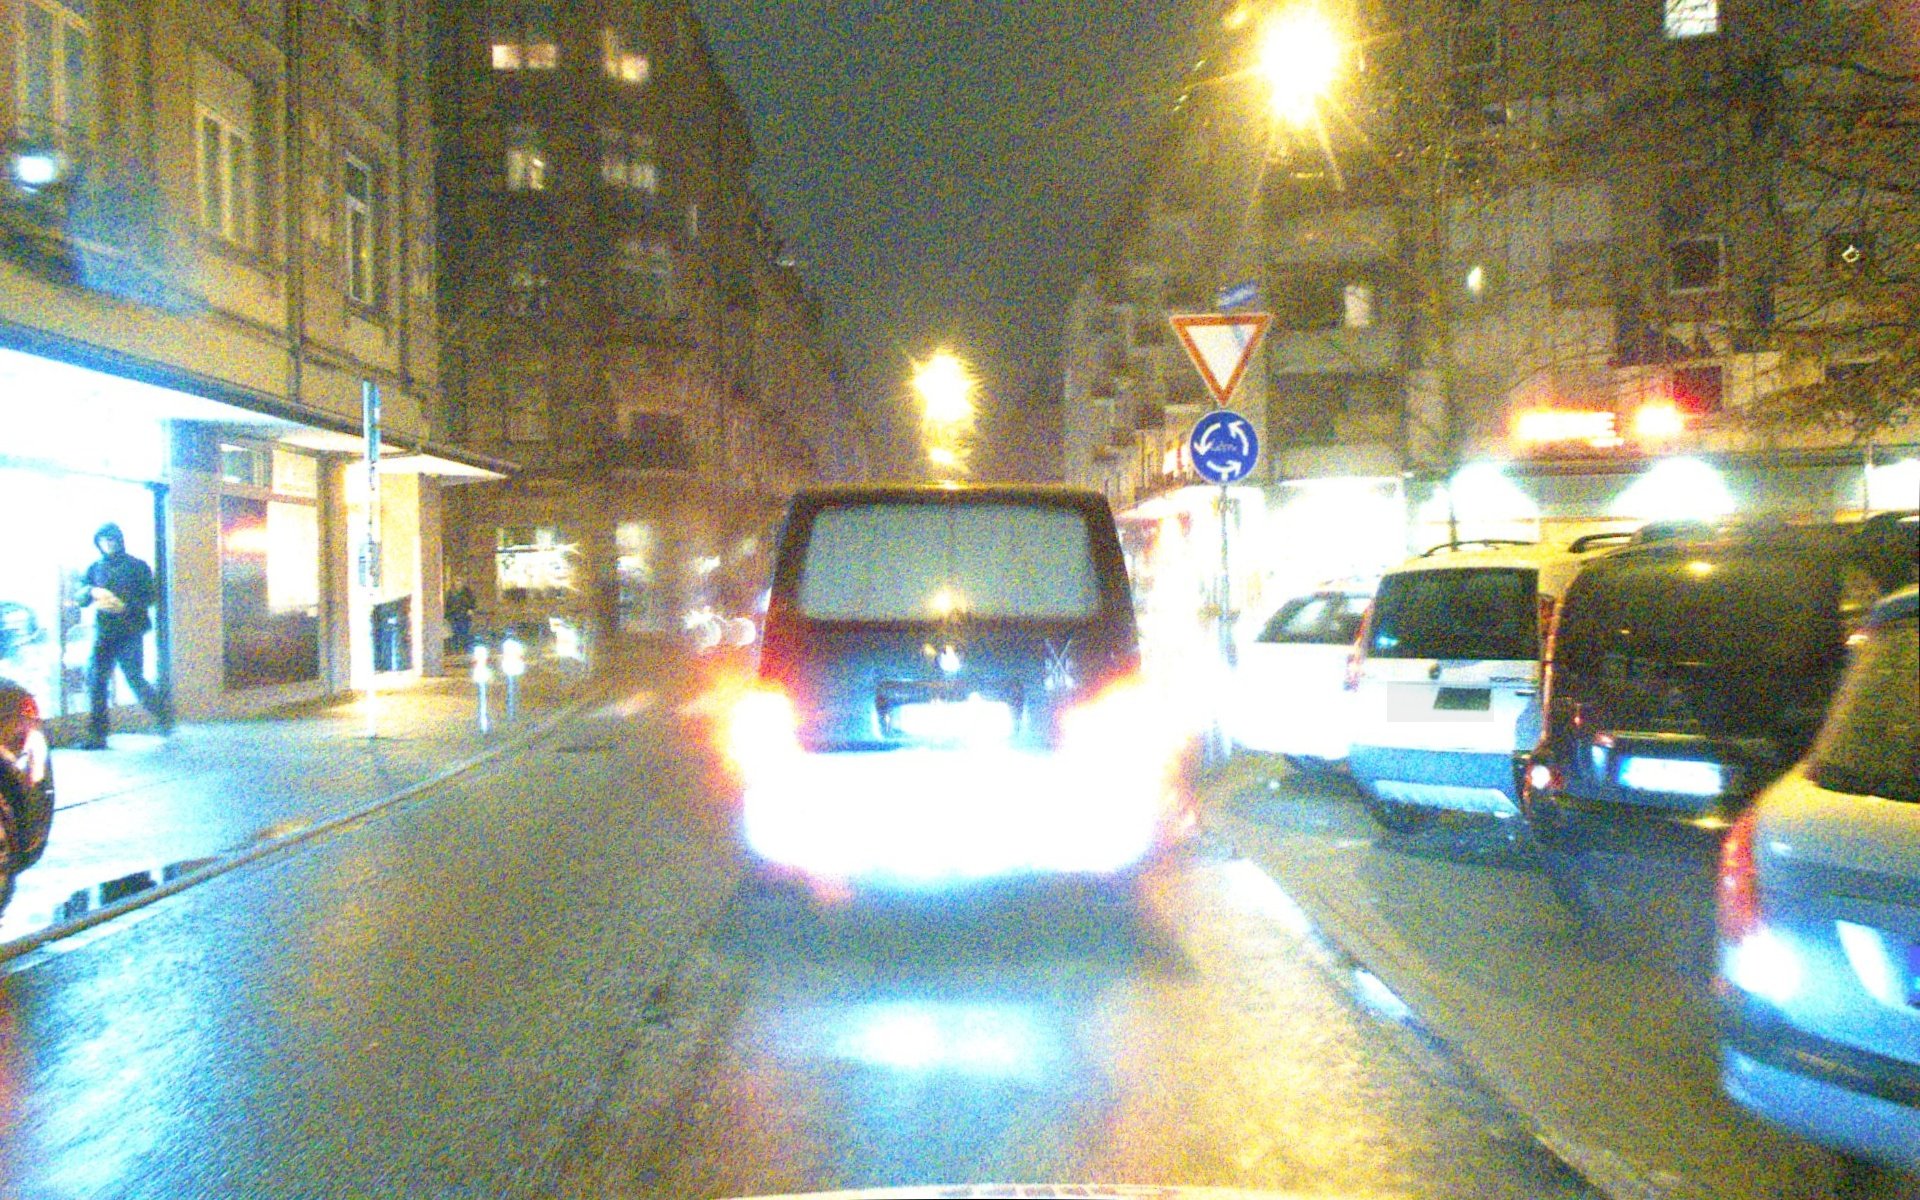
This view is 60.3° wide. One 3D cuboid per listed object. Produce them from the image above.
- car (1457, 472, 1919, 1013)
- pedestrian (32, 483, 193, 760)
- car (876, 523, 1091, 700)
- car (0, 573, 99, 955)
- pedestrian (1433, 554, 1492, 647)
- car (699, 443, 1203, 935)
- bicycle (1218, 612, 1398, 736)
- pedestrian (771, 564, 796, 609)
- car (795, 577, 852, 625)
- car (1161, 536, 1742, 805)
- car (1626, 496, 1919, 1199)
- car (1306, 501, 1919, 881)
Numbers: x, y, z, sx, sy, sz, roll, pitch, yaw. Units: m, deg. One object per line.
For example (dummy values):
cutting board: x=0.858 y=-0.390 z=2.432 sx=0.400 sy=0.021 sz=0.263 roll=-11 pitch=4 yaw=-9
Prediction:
car: x=4.065 y=0.379 z=7.127 sx=3.752 sy=1.742 sz=1.726 roll=-3 pitch=1 yaw=-36
pedestrian: x=-7.275 y=0.168 z=14.255 sx=0.783 sy=2.280 sz=1.116 roll=-1 pitch=0 yaw=-2
car: x=0.446 y=0.089 z=20.797 sx=2.077 sy=1.956 sz=4.830 roll=0 pitch=1 yaw=8
car: x=-4.676 y=0.671 z=4.738 sx=1.809 sy=1.504 sz=5.030 roll=-1 pitch=1 yaw=-1
pedestrian: x=10.285 y=-0.002 z=33.837 sx=0.861 sy=1.865 sz=0.980 roll=-1 pitch=0 yaw=35
car: x=-0.054 y=0.344 z=9.172 sx=2.079 sy=2.026 sz=4.600 roll=-1 pitch=1 yaw=-1
bicycle: x=3.100 y=0.643 z=14.847 sx=1.617 sy=1.044 sz=0.334 roll=-1 pitch=2 yaw=43
pedestrian: x=-7.053 y=-0.533 z=66.210 sx=0.787 sy=1.797 sz=1.016 roll=1 pitch=0 yaw=5
car: x=-4.553 y=-0.005 z=55.680 sx=1.554 sy=1.489 sz=4.024 roll=2 pitch=1 yaw=0
car: x=3.752 y=0.424 z=12.467 sx=4.204 sy=1.601 sz=1.754 roll=-3 pitch=1 yaw=-30
car: x=3.768 y=0.501 z=4.051 sx=4.015 sy=1.625 sz=1.816 roll=-3 pitch=1 yaw=-29
car: x=3.958 y=0.375 z=9.591 sx=3.699 sy=1.742 sz=1.749 roll=-3 pitch=1 yaw=-36
